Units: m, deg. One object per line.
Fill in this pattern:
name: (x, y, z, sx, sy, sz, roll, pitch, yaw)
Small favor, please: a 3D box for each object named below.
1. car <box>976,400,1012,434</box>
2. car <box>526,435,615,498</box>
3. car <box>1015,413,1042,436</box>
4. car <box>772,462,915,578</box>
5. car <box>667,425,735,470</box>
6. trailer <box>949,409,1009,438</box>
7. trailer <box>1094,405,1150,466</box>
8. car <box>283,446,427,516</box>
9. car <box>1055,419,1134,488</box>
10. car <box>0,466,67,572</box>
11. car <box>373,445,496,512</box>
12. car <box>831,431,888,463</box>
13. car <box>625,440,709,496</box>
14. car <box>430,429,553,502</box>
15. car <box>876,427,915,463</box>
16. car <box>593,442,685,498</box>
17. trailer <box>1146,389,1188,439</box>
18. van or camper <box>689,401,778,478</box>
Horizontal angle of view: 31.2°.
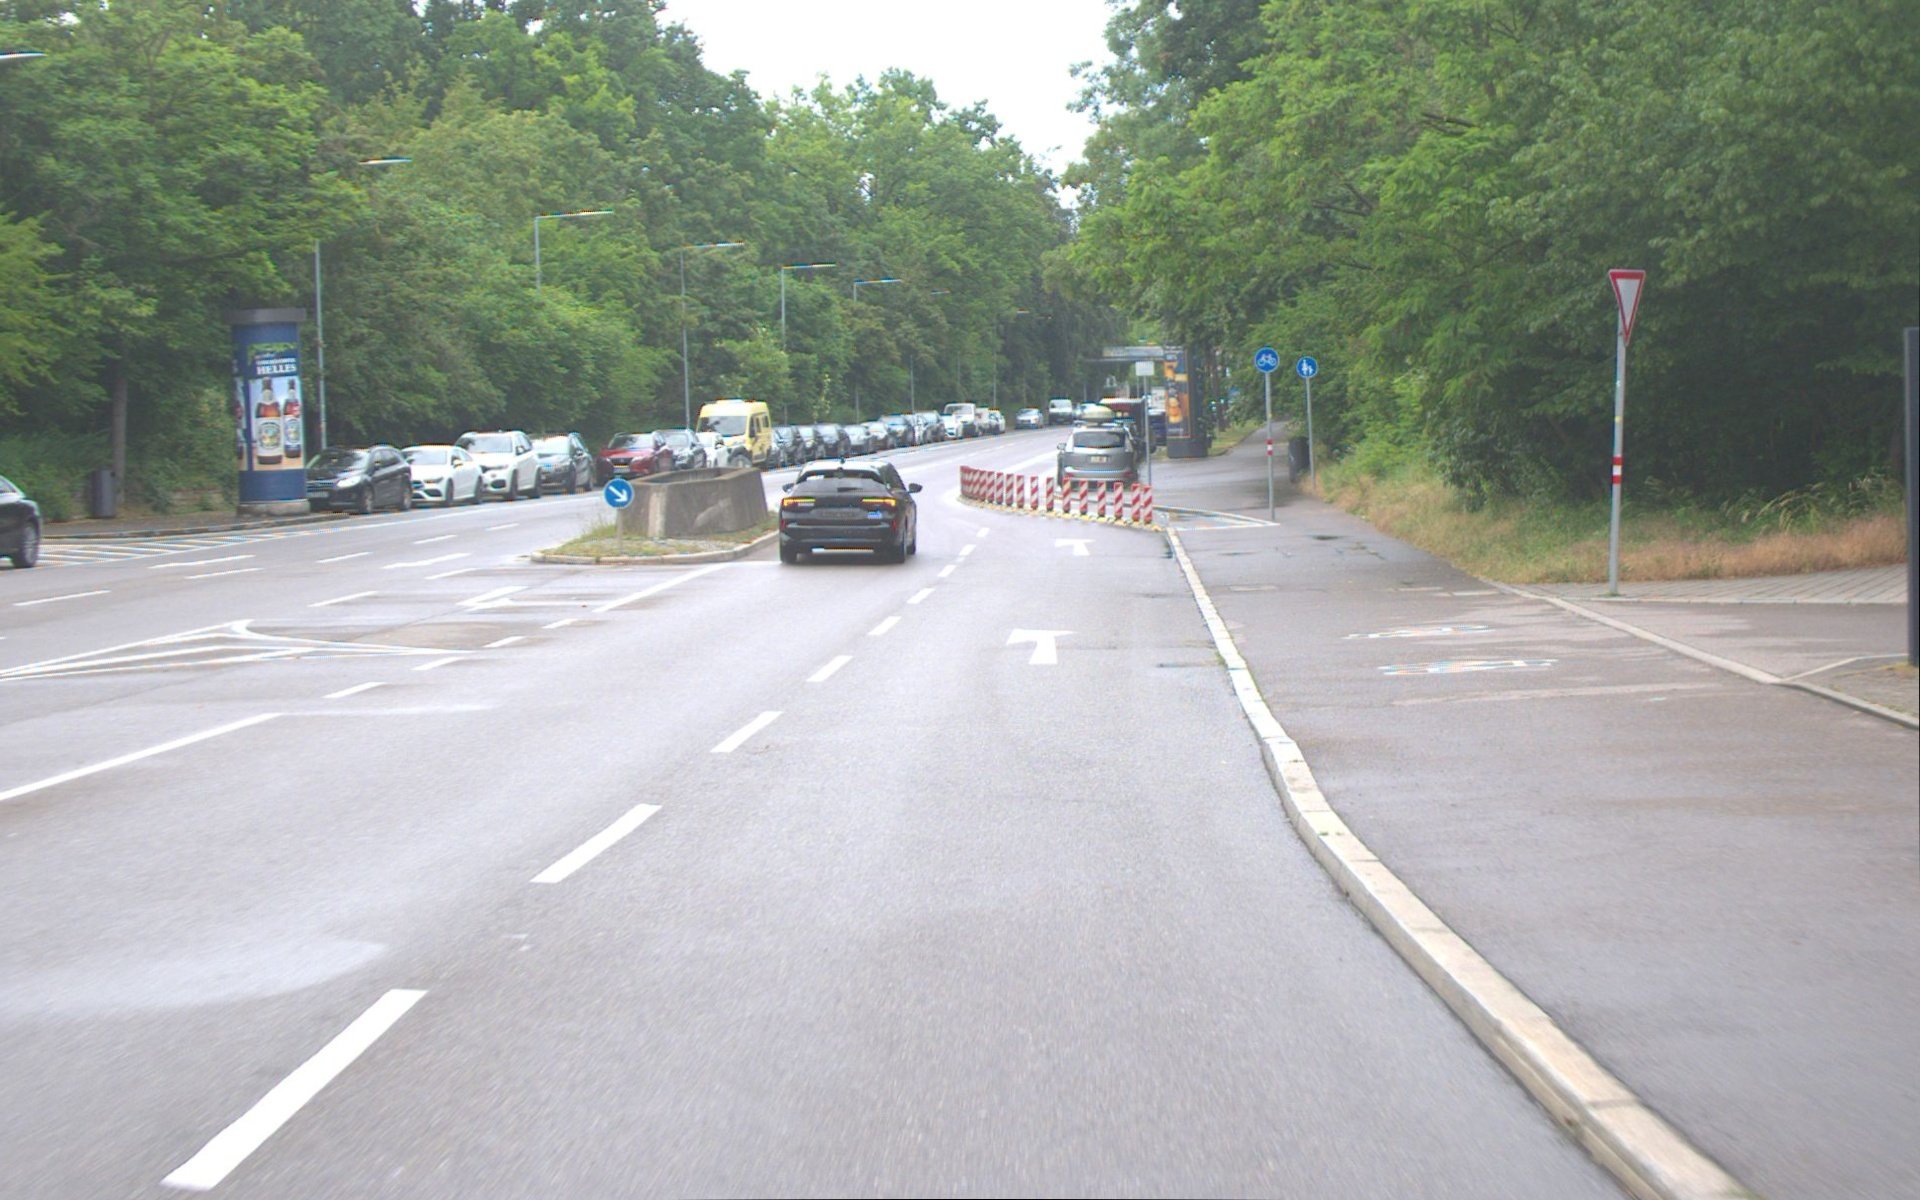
car: (2.060, -11.059, 207.446, 1.940, 2.006, 4.740, 0, 3, 3)
car: (-10.682, -3.693, 94.501, 1.731, 1.643, 4.572, 0, 3, 3)
car: (4.821, -12.347, 241.722, 1.673, 1.508, 3.630, 0, 4, 5)
car: (-1.697, -1.175, 48.985, 1.880, 1.460, 4.001, 1, 4, -4)
car: (-8.777, -5.185, 116.740, 1.618, 1.443, 3.657, -1, 3, 6)
trailer: (1.122, -10.337, 201.391, 1.629, 1.623, 3.665, 1, 4, 37)
trailer: (6.214, -6.301, 131.364, 1.906, 2.239, 4.768, 0, 3, 5)
car: (-13.184, -2.625, 75.149, 1.749, 1.440, 4.586, 0, 3, 8)
car: (3.217, -3.547, 82.692, 1.822, 1.609, 4.252, 0, 3, 1)
car: (-13.788, -1.093, 46.337, 1.906, 1.409, 4.783, 1, 2, 5)
car: (-12.412, -2.906, 81.451, 1.719, 1.455, 4.708, 0, 3, 6)
car: (-4.329, -6.636, 148.661, 1.870, 1.299, 4.470, 0, 3, 6)
car: (-9.469, -4.316, 111.556, 1.994, 1.694, 4.616, -1, 3, 4)
car: (-11.821, -3.431, 87.016, 1.994, 1.759, 4.960, 0, 3, 5)
car: (-2.939, -7.105, 157.106, 1.461, 1.565, 2.984, -1, 3, 5)
car: (-9.875, -4.033, 106.169, 1.919, 1.611, 4.489, -1, 3, 6)
trailer: (10.691, -9.616, 177.602, 2.132, 2.551, 4.297, 0, 3, 4)
van or camper: (-8.079, -5.777, 123.053, 2.144, 2.618, 5.682, -1, 3, 7)
